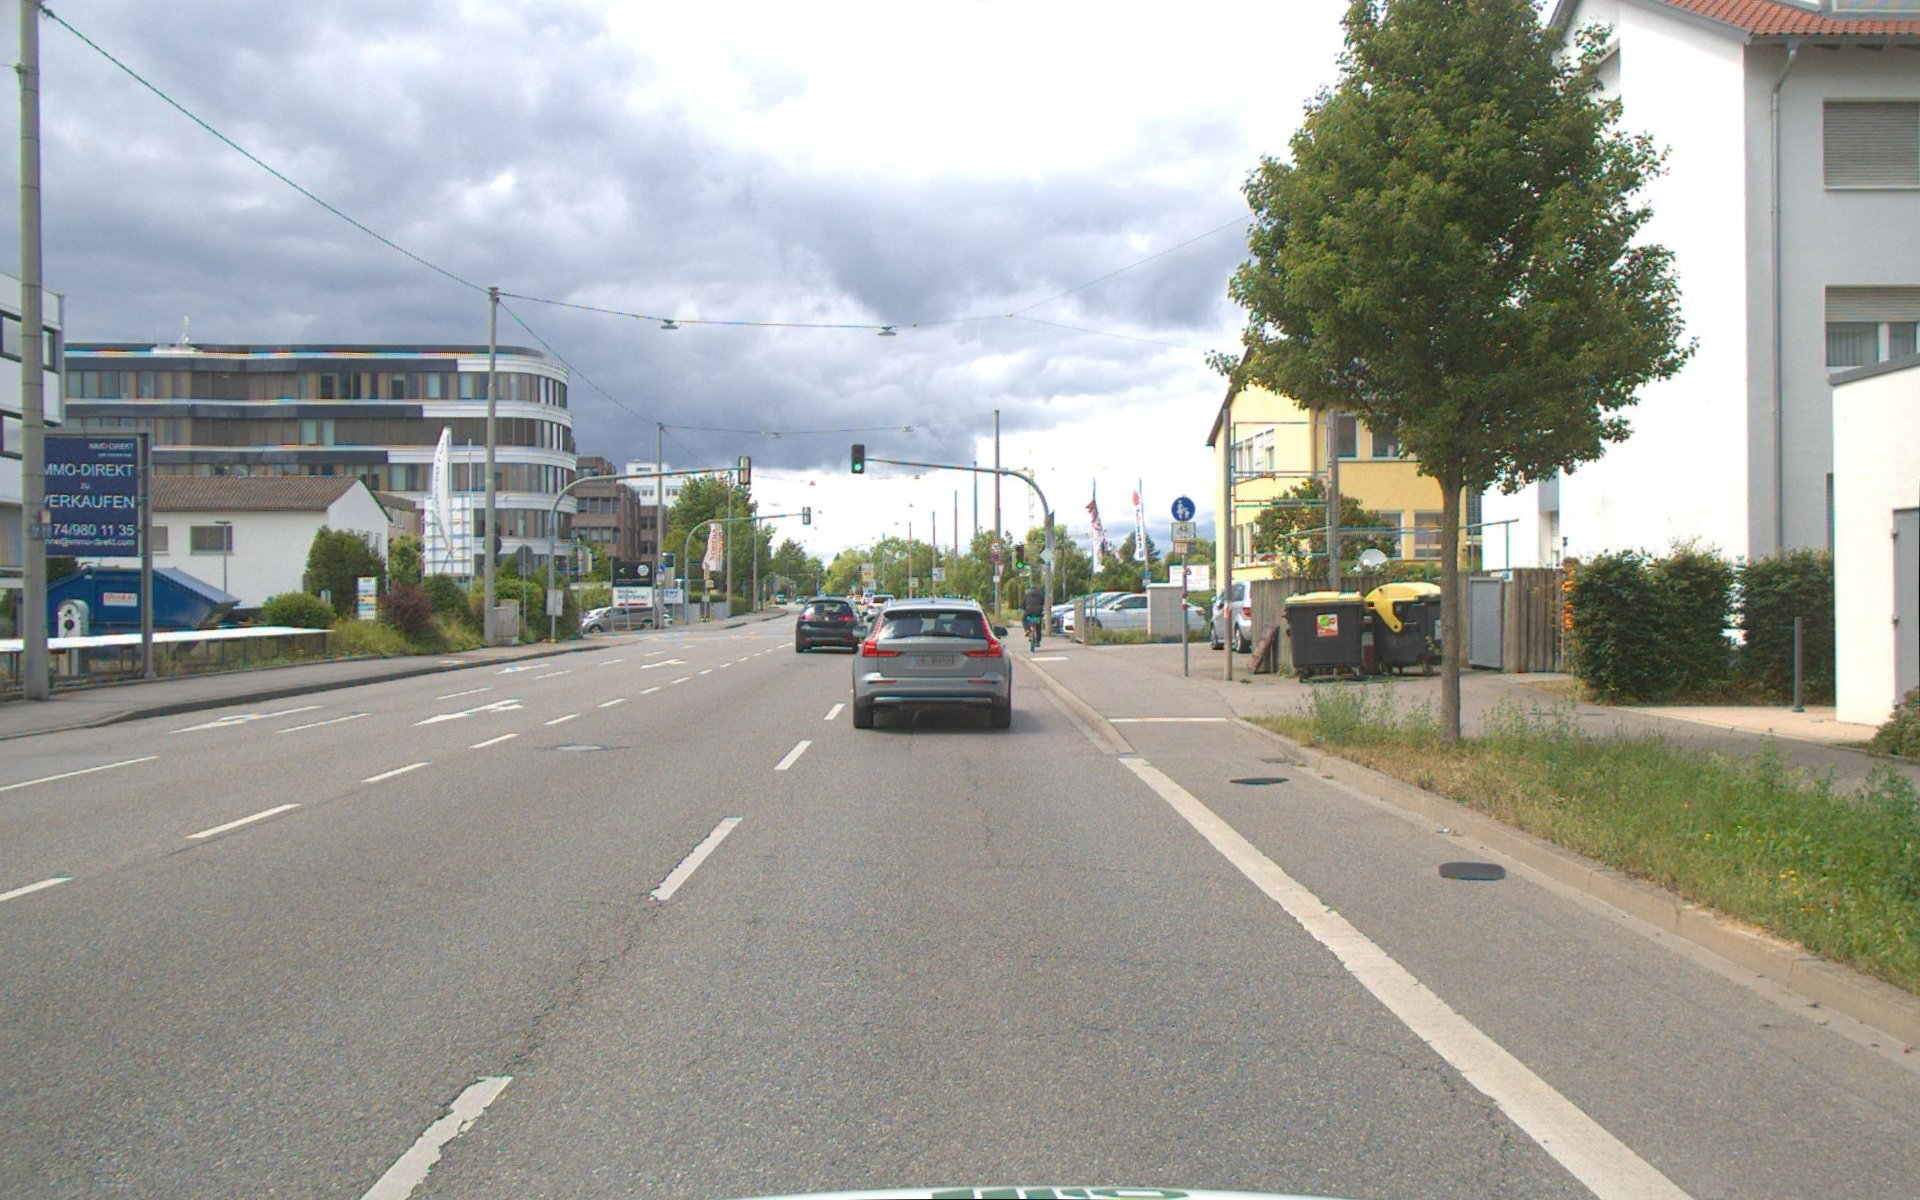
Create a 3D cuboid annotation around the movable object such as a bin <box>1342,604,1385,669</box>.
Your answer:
[{"bbox_3d":[6.564,0.602,26.923,0.557,1.044,0.404,-2,-2,36],"label":"movable object such as a bin"}]

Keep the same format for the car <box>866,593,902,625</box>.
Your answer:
[{"bbox_3d":[-4.278,0.539,93.083,1.953,1.724,3.998,1,-1,-2],"label":"car"}]

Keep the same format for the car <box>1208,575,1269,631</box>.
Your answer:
[{"bbox_3d":[9.726,0.139,58.045,1.934,1.853,5.034,-1,-1,8],"label":"car"}]

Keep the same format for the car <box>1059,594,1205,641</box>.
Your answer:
[{"bbox_3d":[5.700,0.565,55.114,4.602,1.519,2.045,0,0,-2],"label":"car"}]

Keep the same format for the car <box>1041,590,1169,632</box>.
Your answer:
[{"bbox_3d":[5.551,0.415,63.726,4.702,1.506,2.032,1,0,0],"label":"car"}]

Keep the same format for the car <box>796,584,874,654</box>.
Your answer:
[{"bbox_3d":[-3.333,0.517,44.417,1.954,1.747,3.997,1,-1,-4],"label":"car"}]

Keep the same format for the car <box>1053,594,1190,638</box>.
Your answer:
[{"bbox_3d":[5.619,0.549,57.988,4.565,1.519,2.034,0,0,-2],"label":"car"}]

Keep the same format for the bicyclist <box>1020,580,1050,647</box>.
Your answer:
[{"bbox_3d":[1.971,0.348,43.611,0.625,1.704,0.890,-4,0,-1],"label":"bicyclist"}]

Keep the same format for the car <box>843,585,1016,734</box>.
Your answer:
[{"bbox_3d":[-0.325,0.677,20.058,1.857,1.581,4.000,1,-1,0],"label":"car"}]

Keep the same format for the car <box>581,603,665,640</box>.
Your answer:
[{"bbox_3d":[-17.324,1.103,85.271,4.019,1.421,1.904,-7,1,-9],"label":"car"}]

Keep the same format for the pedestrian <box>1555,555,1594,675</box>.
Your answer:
[{"bbox_3d":[9.371,0.228,25.226,0.496,1.796,0.501,1,-1,15],"label":"pedestrian"}]

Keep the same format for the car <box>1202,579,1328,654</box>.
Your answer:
[{"bbox_3d":[6.910,0.345,37.933,1.838,1.572,4.519,-1,0,-3],"label":"car"}]

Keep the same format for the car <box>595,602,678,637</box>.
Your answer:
[{"bbox_3d":[-17.647,1.062,90.391,4.146,1.410,1.981,-7,-1,-8],"label":"car"}]

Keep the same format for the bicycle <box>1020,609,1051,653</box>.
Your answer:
[{"bbox_3d":[1.997,0.808,43.736,0.625,1.081,1.977,-4,0,-1],"label":"bicycle"}]

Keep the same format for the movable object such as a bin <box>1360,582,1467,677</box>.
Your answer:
[{"bbox_3d":[7.242,0.478,26.389,1.296,1.461,1.247,-2,-2,35],"label":"movable object such as a bin"}]

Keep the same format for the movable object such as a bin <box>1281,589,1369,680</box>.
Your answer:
[{"bbox_3d":[5.747,0.547,26.006,1.291,1.385,1.252,-1,-1,15],"label":"movable object such as a bin"}]

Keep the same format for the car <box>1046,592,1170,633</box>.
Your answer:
[{"bbox_3d":[5.423,0.454,60.875,4.282,1.428,1.987,1,0,-3],"label":"car"}]
